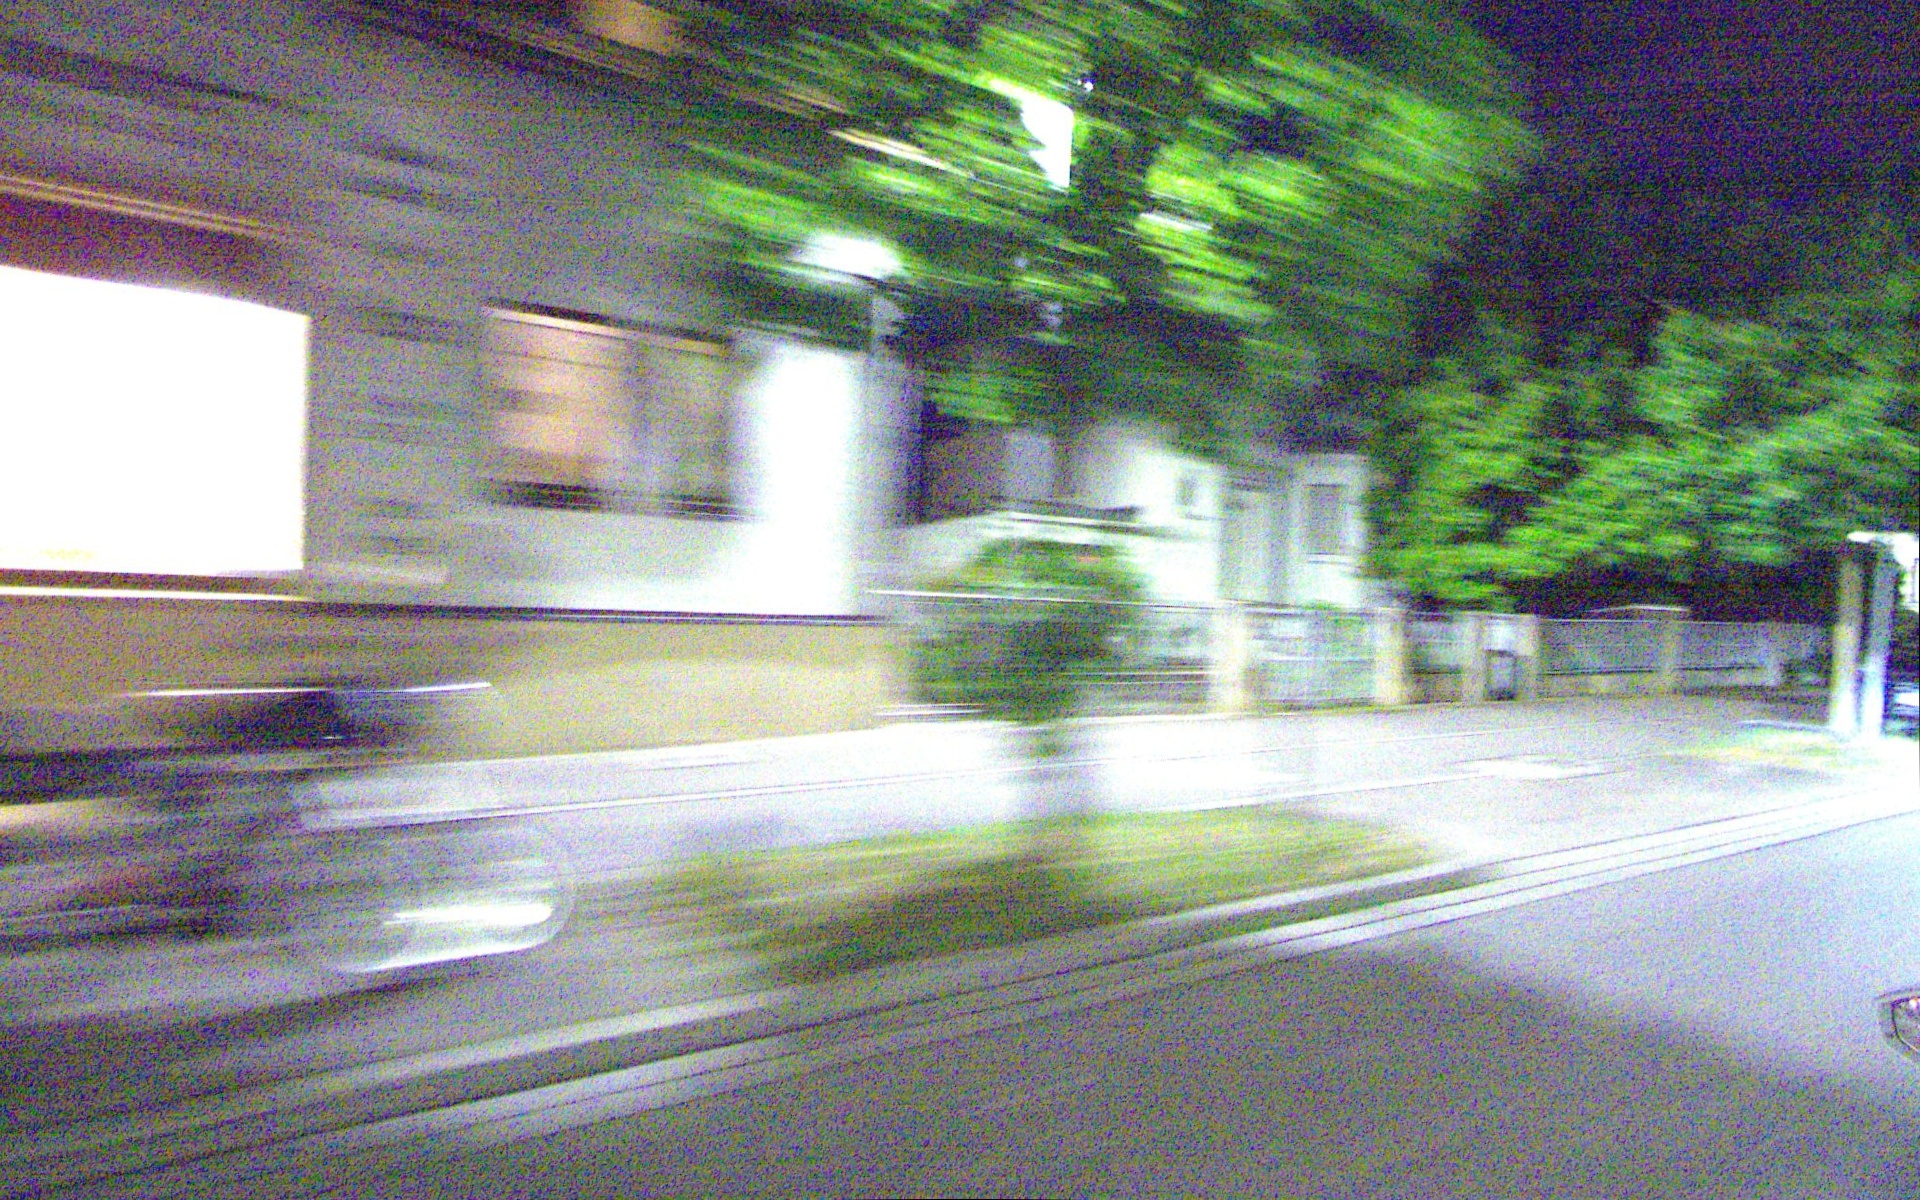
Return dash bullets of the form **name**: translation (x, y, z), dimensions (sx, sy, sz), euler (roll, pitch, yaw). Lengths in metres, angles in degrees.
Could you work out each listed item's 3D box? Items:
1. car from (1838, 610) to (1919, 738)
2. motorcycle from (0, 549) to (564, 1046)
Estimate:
- **car**: translation (13.428, 0.945, 13.101), dimensions (4.228, 1.530, 1.680), euler (1, 0, -30)
- **motorcycle**: translation (-2.553, 0.592, 3.481), dimensions (2.163, 1.471, 0.744), euler (1, 0, -22)
